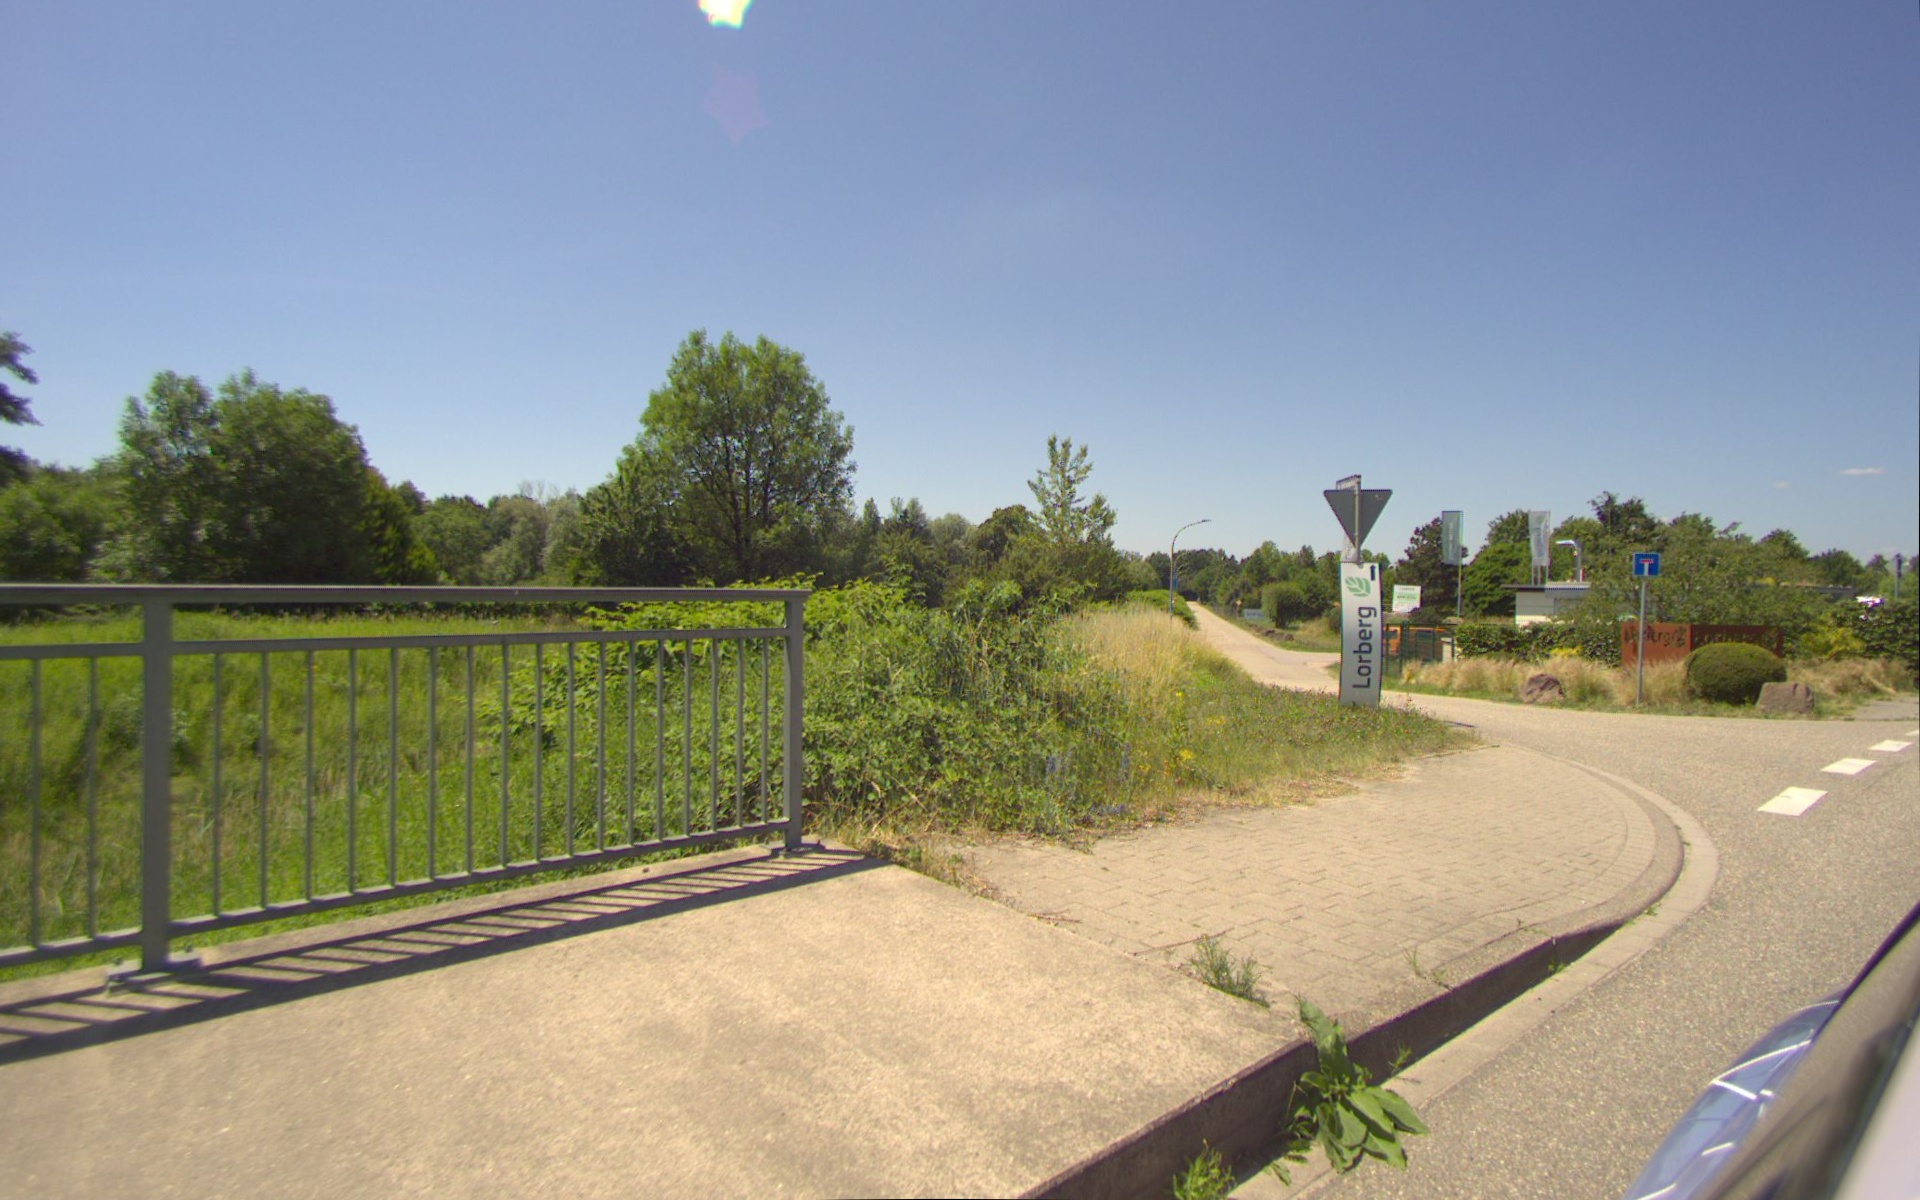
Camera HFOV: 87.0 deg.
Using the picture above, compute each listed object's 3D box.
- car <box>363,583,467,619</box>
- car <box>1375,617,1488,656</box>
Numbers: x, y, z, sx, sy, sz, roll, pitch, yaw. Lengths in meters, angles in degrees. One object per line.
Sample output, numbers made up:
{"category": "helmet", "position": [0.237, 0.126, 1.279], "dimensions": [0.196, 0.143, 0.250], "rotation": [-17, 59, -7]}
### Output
{"category": "car", "position": [-26.026, 0.023, 48.532], "dimensions": [1.969, 1.644, 4.498], "rotation": [1, 1, 11]}
{"category": "car", "position": [25.822, 1.994, 55.460], "dimensions": [5.459, 2.039, 2.003], "rotation": [1, -1, -12]}
